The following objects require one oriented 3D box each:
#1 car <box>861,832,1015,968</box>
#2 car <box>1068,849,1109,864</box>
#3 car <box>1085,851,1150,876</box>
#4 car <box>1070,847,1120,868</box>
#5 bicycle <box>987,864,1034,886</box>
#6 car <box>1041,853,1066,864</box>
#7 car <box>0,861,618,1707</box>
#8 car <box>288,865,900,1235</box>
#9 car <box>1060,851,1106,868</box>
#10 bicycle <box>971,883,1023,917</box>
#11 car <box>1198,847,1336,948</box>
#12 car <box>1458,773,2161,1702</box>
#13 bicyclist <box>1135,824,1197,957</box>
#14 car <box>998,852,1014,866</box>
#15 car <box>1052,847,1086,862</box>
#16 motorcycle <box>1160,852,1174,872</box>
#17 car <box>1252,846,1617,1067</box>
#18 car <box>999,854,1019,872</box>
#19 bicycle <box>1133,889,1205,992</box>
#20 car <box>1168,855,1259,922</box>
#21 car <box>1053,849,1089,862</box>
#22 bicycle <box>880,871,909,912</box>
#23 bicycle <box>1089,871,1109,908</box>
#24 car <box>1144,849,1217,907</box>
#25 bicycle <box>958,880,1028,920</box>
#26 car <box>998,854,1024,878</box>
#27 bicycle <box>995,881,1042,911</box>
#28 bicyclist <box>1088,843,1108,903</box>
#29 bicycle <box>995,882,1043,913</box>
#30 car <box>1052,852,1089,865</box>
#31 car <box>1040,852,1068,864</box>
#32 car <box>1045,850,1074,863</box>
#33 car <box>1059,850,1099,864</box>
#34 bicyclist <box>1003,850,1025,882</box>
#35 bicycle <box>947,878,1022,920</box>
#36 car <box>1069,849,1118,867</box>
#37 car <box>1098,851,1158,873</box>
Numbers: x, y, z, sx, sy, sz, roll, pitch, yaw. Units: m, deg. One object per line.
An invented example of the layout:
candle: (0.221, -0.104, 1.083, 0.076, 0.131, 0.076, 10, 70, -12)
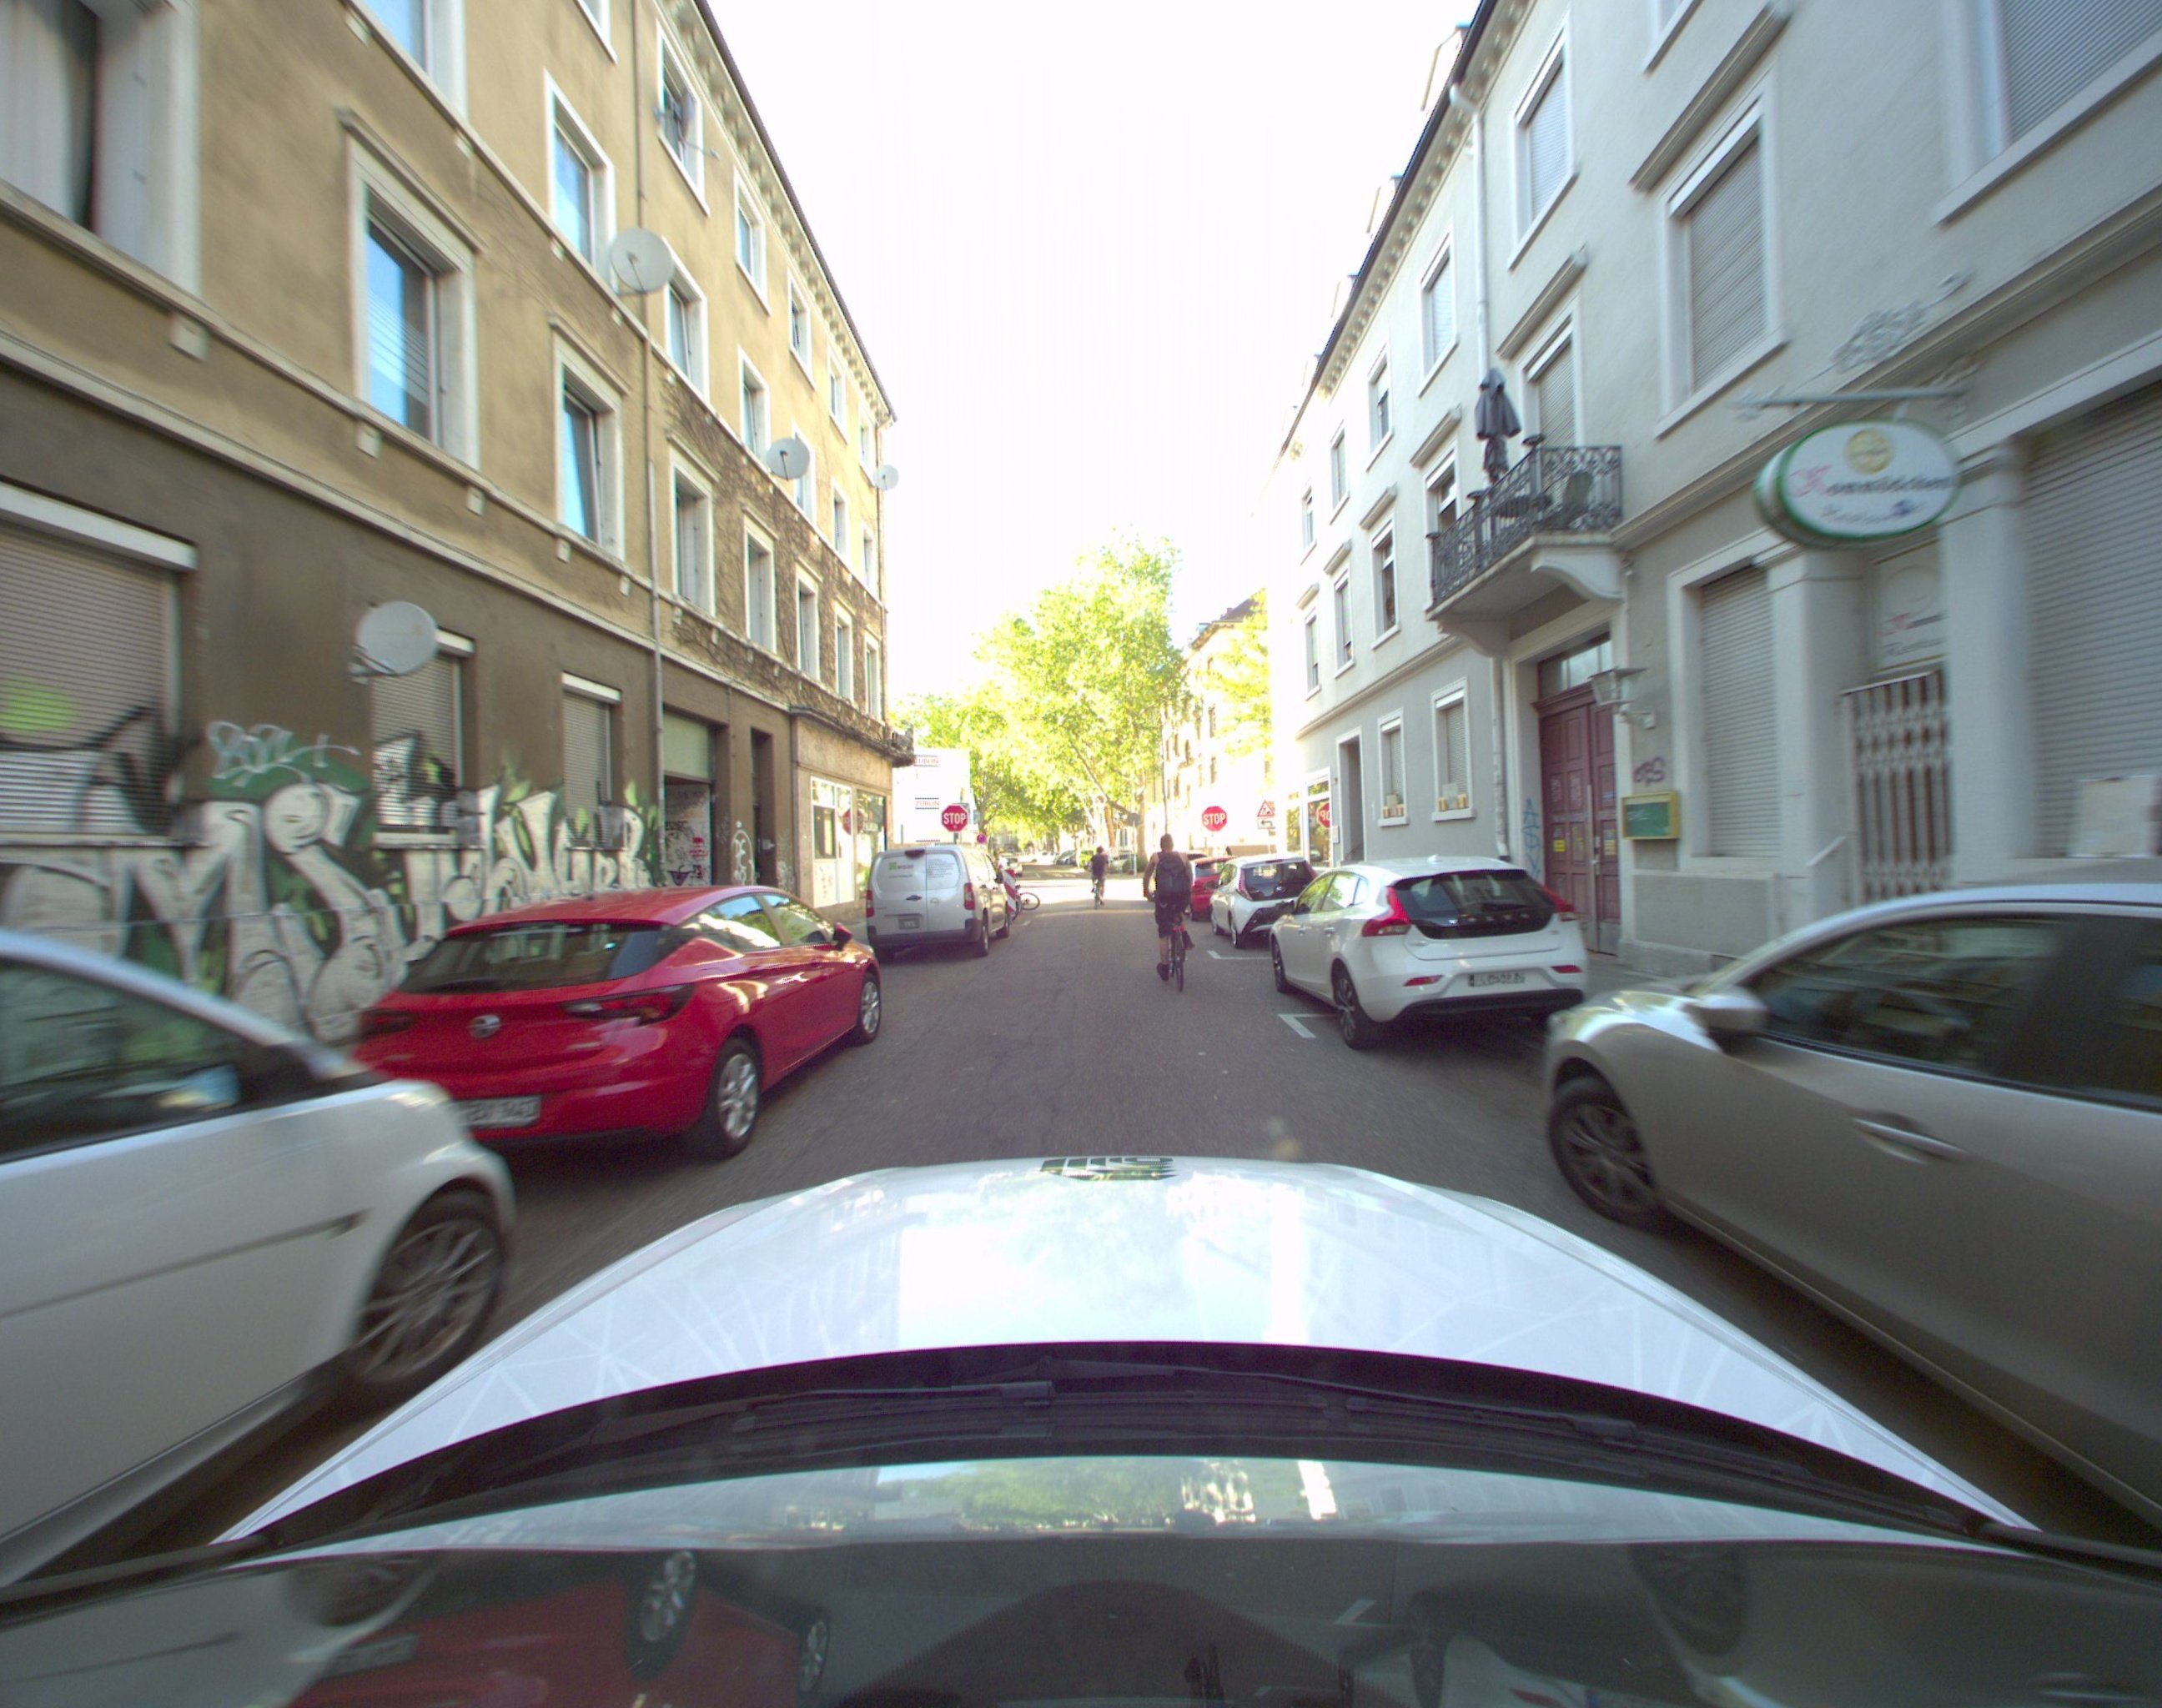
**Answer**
car: (-2.326, 0.688, 14.473, 1.673, 1.910, 4.520, -5, 0, 1)
car: (0.870, 0.264, 91.955, 4.457, 1.571, 1.724, -2, 0, -7)
car: (2.627, 0.667, 58.686, 4.457, 1.571, 1.724, -2, 0, -7)
car: (1.300, 0.299, 76.585, 4.458, 1.836, 1.724, -2, 0, -8)
bicycle: (-3.741, 1.106, 43.392, 2.419, 1.093, 0.894, -2, -1, -6)
car: (-4.968, 0.750, 146.585, 4.457, 1.898, 1.724, -2, 0, -7)
car: (-2.708, 0.840, 1.814, 1.675, 1.549, 2.957, -3, 0, -3)
car: (-2.627, 0.894, 5.717, 1.674, 1.473, 4.202, -4, 0, 0)
car: (0.212, 0.520, 82.445, 4.457, 1.571, 1.724, -2, 0, -7)
bicycle: (-2.358, 1.281, 22.763, 1.386, 0.818, 0.360, -4, 0, -9)
car: (3.212, 0.686, 14.779, 1.631, 1.587, 3.787, 0, 0, 0)
car: (2.747, 0.657, 2.271, 1.672, 1.597, 4.194, 0, 0, 3)
bicyclist: (0.996, 0.418, 9.633, 0.674, 1.513, 0.669, 0, 0, 1)
car: (-8.912, 0.588, 96.967, 1.664, 1.562, 4.604, -2, 0, -7)
car: (-1.670, 0.109, 111.843, 4.457, 1.898, 1.724, -2, 0, -7)
motorcycle: (5.799, 0.539, 54.861, 0.513, 1.332, 1.759, -2, 0, -8)
car: (2.870, 0.705, 7.694, 1.673, 1.510, 4.190, 0, 0, 0)
car: (-6.633, 0.821, 74.671, 1.664, 1.562, 3.990, -2, 0, -7)
bicycle: (0.999, 0.961, 9.641, 0.687, 1.016, 1.908, 0, 0, 1)
car: (3.227, 0.793, 20.540, 1.640, 1.503, 3.954, 0, 0, 0)
car: (-1.242, 0.171, 104.541, 4.457, 1.571, 1.724, -2, 0, -7)
bicycle: (-5.290, 1.057, 23.143, 0.396, 1.092, 1.591, -2, -1, 1)
bicycle: (0.502, 0.997, 23.436, 0.550, 1.016, 1.628, -1, -1, 0)
car: (3.015, 0.698, 25.453, 1.755, 1.662, 4.196, 0, 0, 0)
bicycle: (-2.320, 1.196, 21.483, 1.765, 0.961, 0.479, -2, 0, -12)
car: (-5.046, 0.824, 58.351, 1.642, 1.494, 3.990, -4, 0, -7)
bicycle: (-1.824, 1.213, 23.604, 1.308, 0.818, 0.370, -2, 0, -9)
bicyclist: (0.497, 0.537, 23.403, 0.540, 1.687, 0.653, -1, -1, 0)
bicycle: (-1.767, 1.245, 23.230, 1.308, 0.818, 0.354, -2, 0, -9)
car: (-1.390, 0.565, 102.194, 4.457, 1.571, 1.724, -2, 0, -7)
car: (-4.564, 0.612, 137.689, 4.457, 1.898, 1.724, -2, 0, -7)
car: (-3.381, 0.435, 127.290, 4.457, 1.898, 1.724, -2, 0, -7)
car: (-0.281, 0.340, 94.920, 4.457, 1.571, 1.724, -2, 0, -7)
bicyclist: (-3.590, 0.644, 43.425, 1.095, 1.640, 0.894, -2, -1, -6)
bicycle: (-2.359, 1.109, 20.047, 1.759, 0.961, 0.405, -2, 0, -1)
car: (1.204, 0.392, 78.598, 4.457, 1.571, 1.724, -2, 0, -7)
car: (3.670, 0.594, 63.644, 4.457, 1.571, 1.724, -2, 0, -7)
